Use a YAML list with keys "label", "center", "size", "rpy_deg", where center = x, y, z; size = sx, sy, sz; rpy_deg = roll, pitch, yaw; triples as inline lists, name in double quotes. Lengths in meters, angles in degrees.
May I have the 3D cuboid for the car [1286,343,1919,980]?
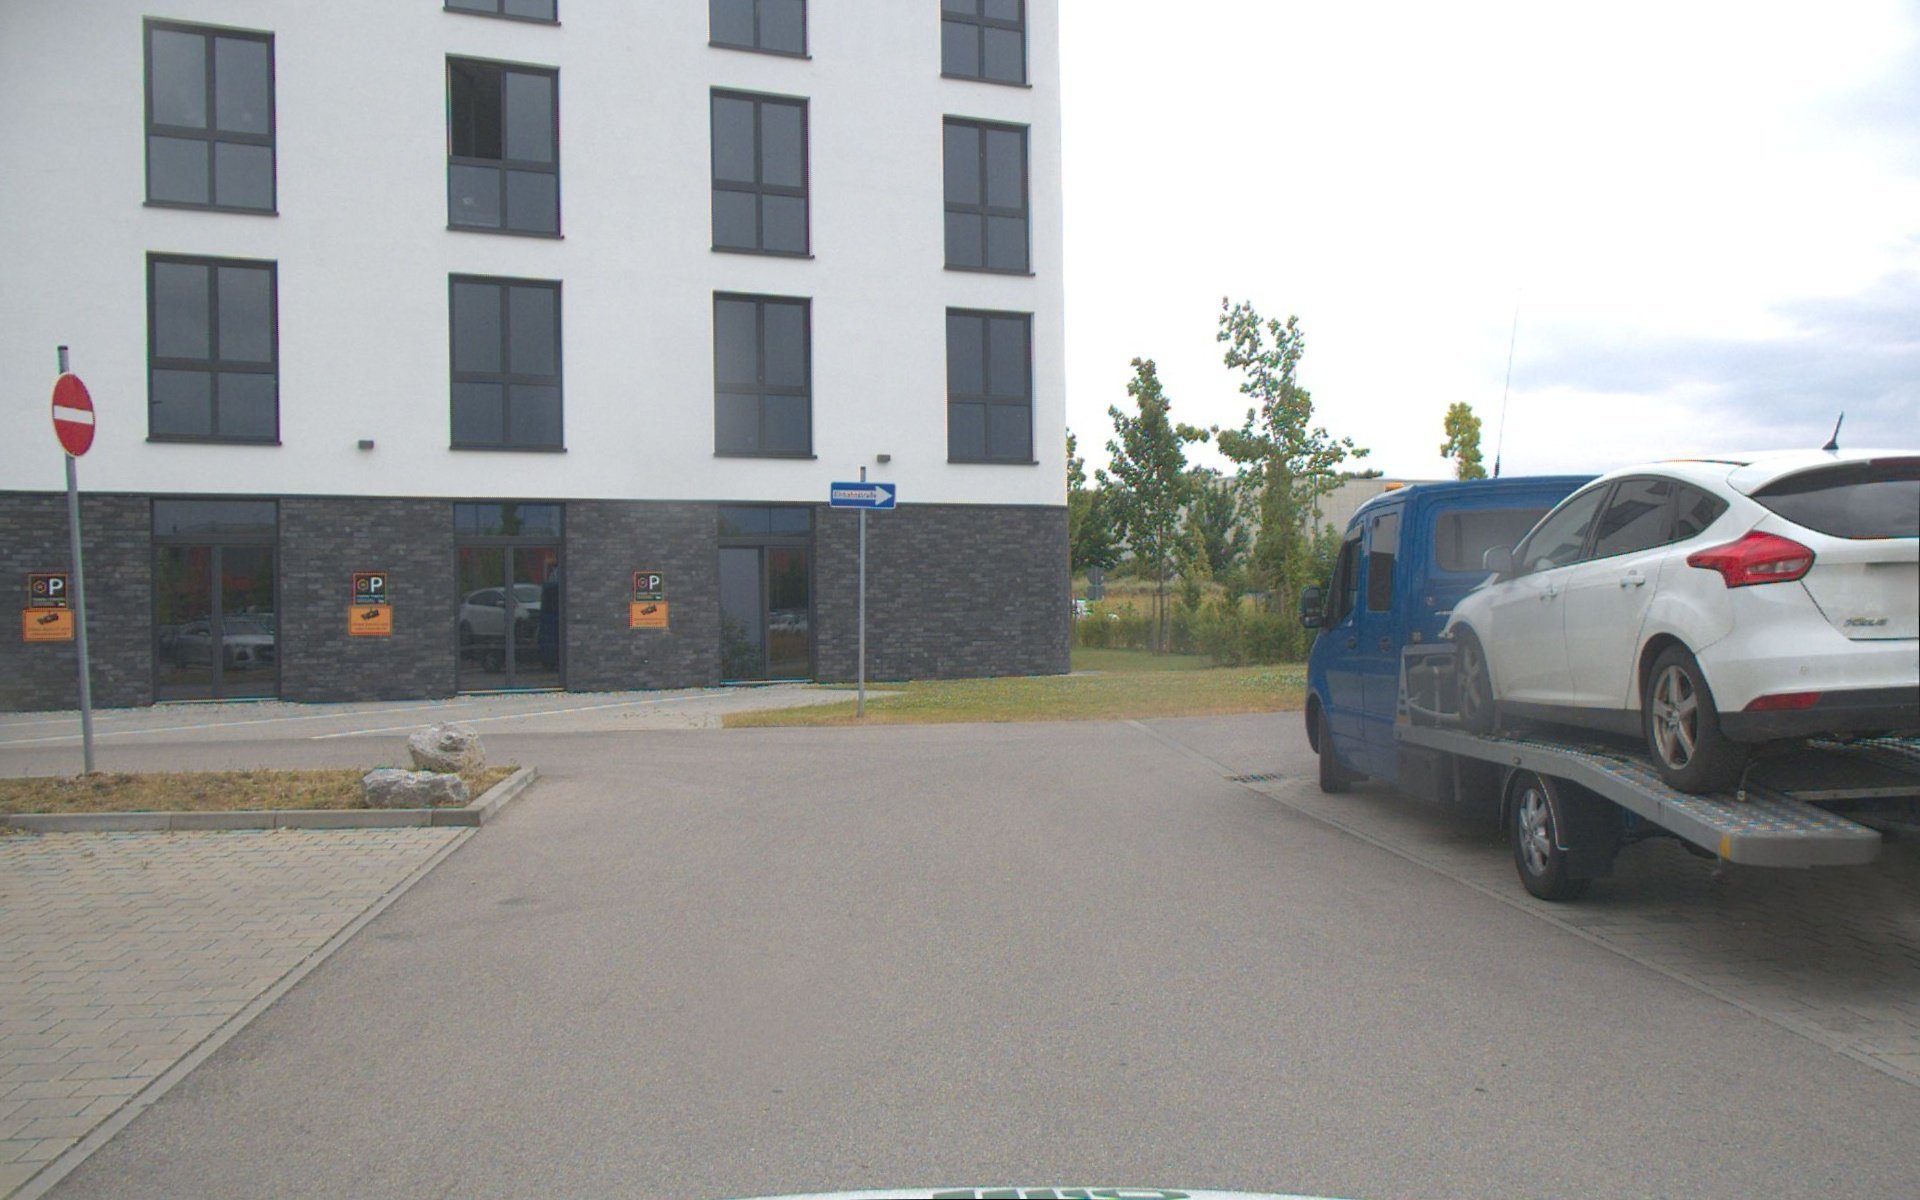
- label: "car"
  center: [3.884, 0.229, 10.107]
  size: [2.149, 2.363, 7.856]
  rpy_deg: [-1, 0, -1]
